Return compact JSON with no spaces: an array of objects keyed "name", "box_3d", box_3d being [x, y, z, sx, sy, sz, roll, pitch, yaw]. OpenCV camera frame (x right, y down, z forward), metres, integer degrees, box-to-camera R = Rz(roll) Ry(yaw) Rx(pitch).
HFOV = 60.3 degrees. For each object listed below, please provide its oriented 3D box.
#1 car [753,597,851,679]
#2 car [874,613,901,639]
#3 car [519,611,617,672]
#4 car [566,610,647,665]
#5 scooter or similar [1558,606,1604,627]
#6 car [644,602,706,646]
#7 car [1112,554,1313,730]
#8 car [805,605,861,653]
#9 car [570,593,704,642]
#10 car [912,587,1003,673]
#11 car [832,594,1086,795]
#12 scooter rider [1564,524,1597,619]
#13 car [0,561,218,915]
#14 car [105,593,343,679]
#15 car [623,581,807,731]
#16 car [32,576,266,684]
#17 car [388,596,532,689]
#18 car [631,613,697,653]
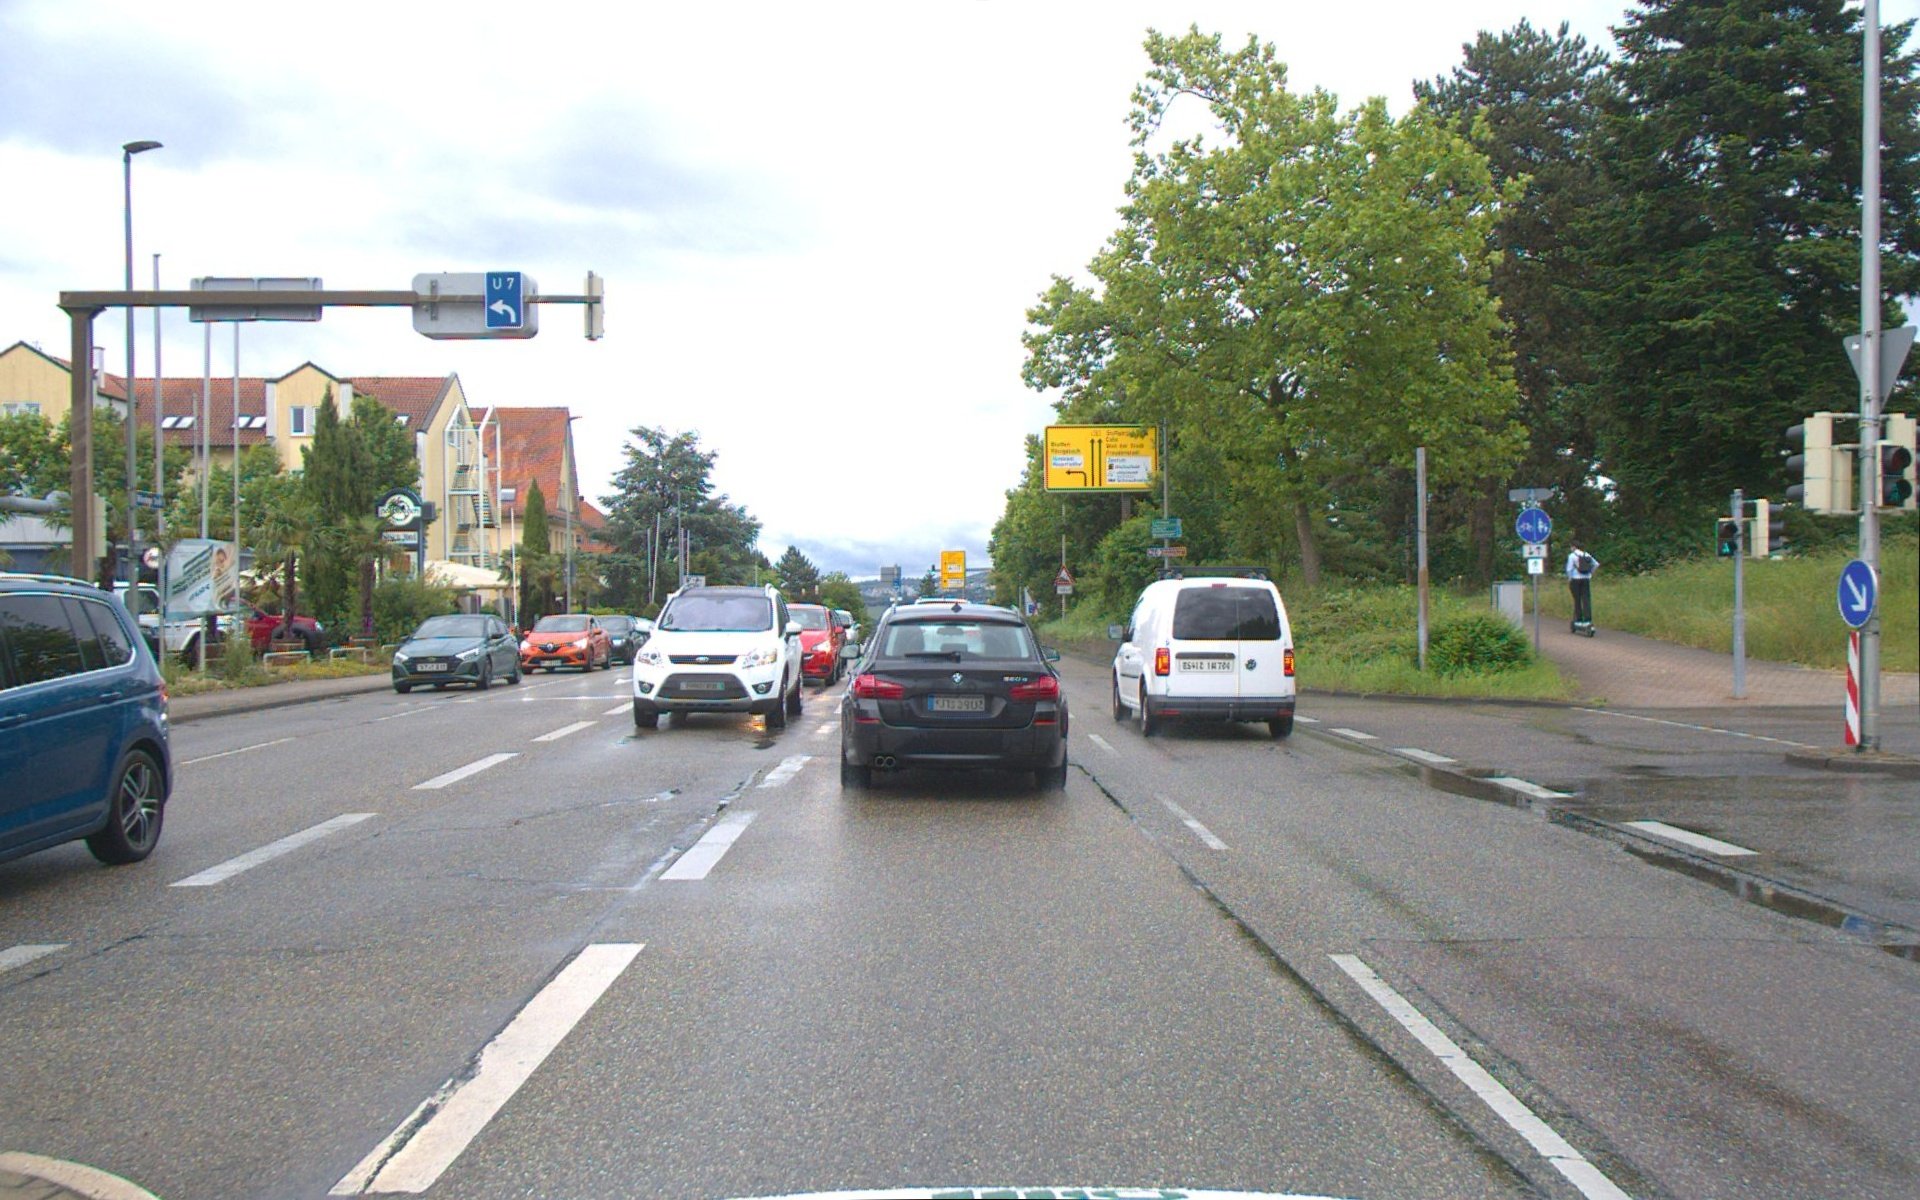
[{"name":"car","box_3d":[-2.974,0.727,31.866,1.599,1.459,4.142,0,-1,-2]},{"name":"car","box_3d":[-5.189,1.863,119.057,1.830,1.703,4.000,0,1,-1]},{"name":"car","box_3d":[-9.763,0.995,41.446,1.590,1.355,3.945,-2,0,-2]},{"name":"car","box_3d":[-10.296,1.049,48.383,1.570,1.424,4.403,-2,0,-3]},{"name":"scooter or similar","box_3d":[13.225,0.354,35.257,0.477,0.410,1.255,-1,1,-1]},{"name":"car","box_3d":[-10.737,0.891,62.585,1.734,1.596,3.999,0,0,-1]},{"name":"car","box_3d":[2.941,0.439,19.979,1.729,1.910,3.804,0,1,-2]},{"name":"car","box_3d":[-4.022,0.937,52.802,1.569,1.466,3.947,1,-1,-2]},{"name":"car","box_3d":[-10.518,0.577,53.917,3.945,1.503,1.644,-1,-1,12]},{"name":"car","box_3d":[-0.069,0.593,35.301,1.830,1.703,4.000,0,1,-1]},{"name":"car","box_3d":[-0.030,0.712,14.190,1.860,1.467,3.999,0,0,-1]},{"name":"scooter rider","box_3d":[13.213,-0.605,35.231,0.490,2.000,0.547,-1,0,-1]},{"name":"car","box_3d":[-5.489,0.683,8.130,1.802,1.678,4.296,-2,0,-2]},{"name":"car","box_3d":[-17.266,0.833,38.857,4.943,1.732,1.980,-2,-2,-29]},{"name":"car","box_3d":[-2.967,0.619,20.857,1.802,1.678,4.296,-1,0,-2]},{"name":"car","box_3d":[-17.386,0.614,35.511,4.339,2.049,1.980,-2,0,-30]},{"name":"car","box_3d":[-9.758,0.783,32.557,1.642,1.646,3.999,-2,1,-1]},{"name":"car","box_3d":[-9.820,1.074,55.083,1.590,1.169,3.854,-2,0,-2]}]
